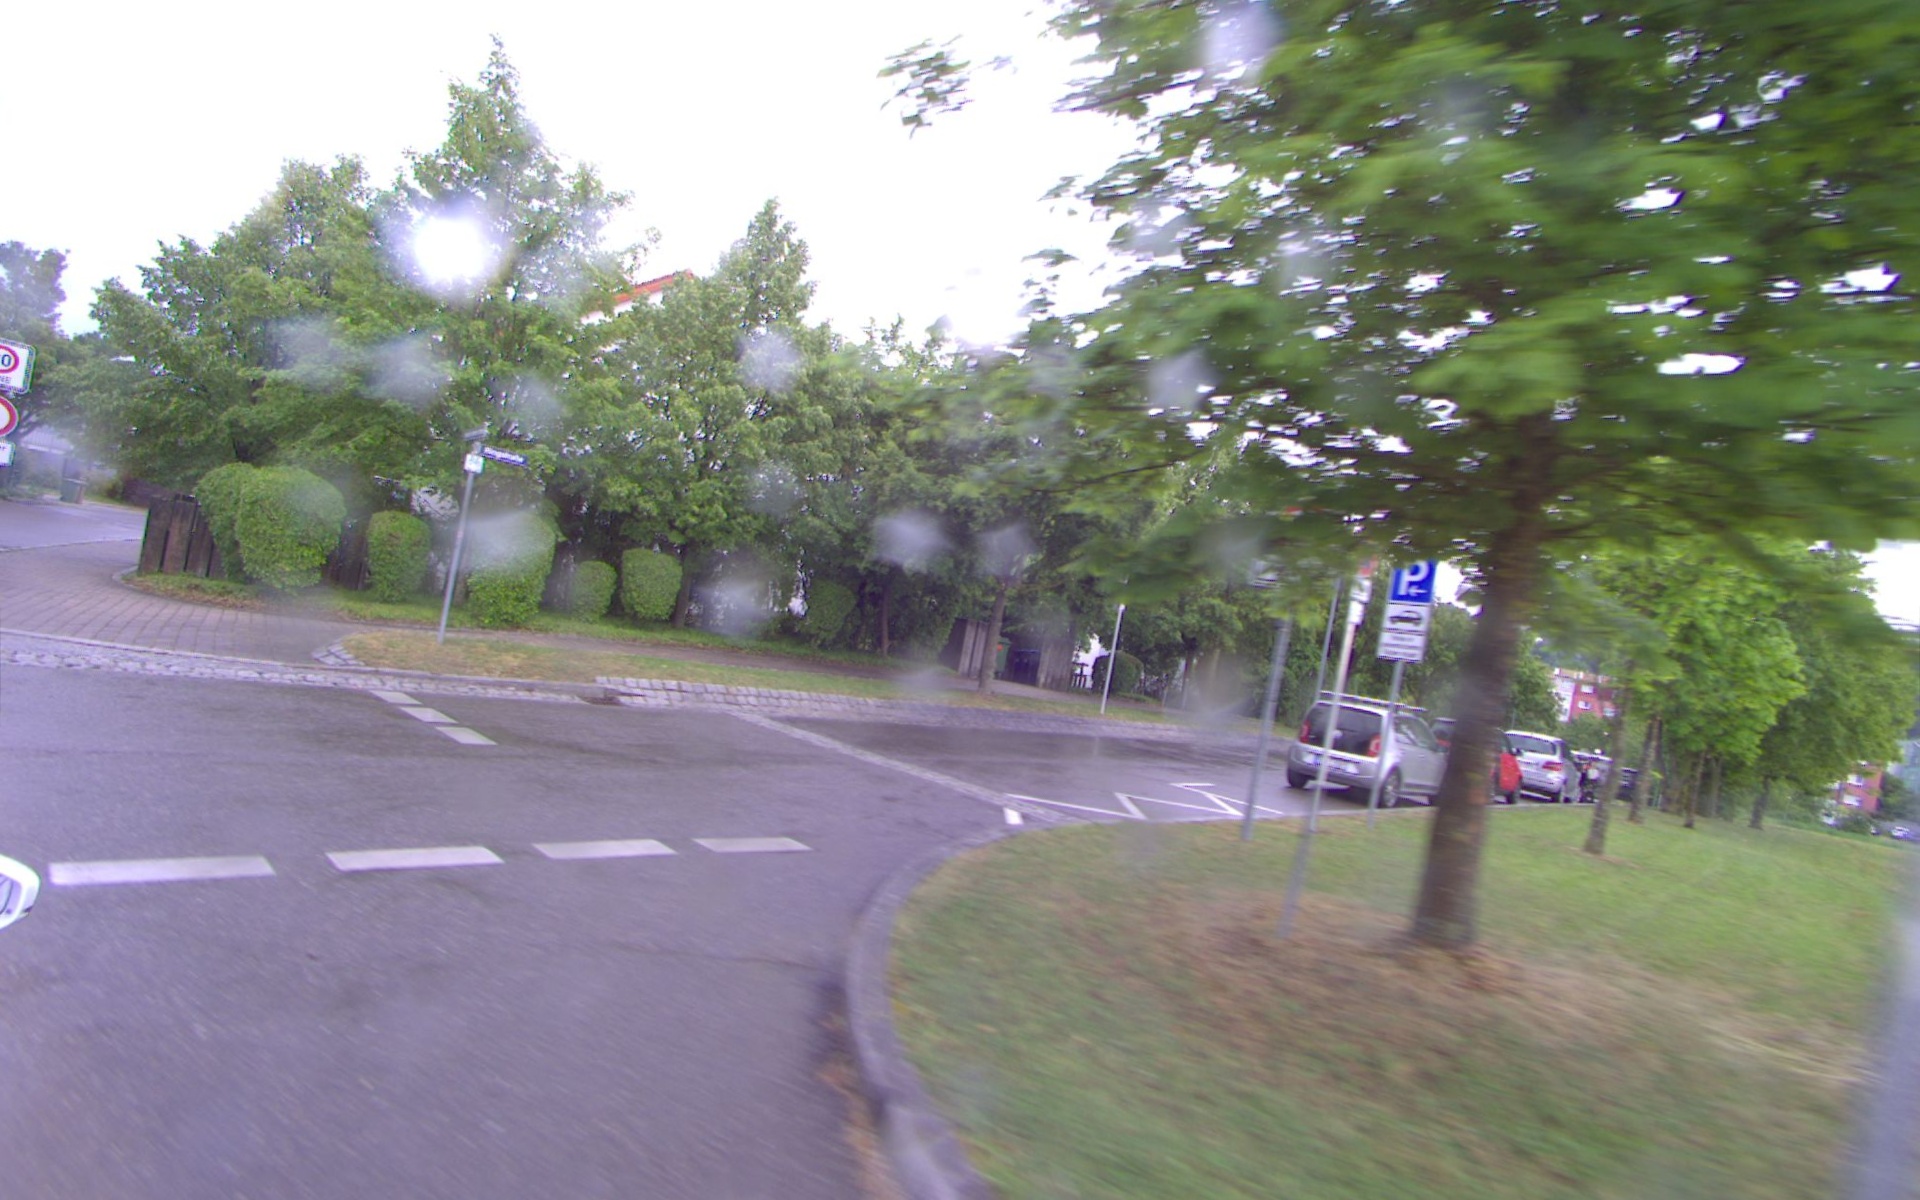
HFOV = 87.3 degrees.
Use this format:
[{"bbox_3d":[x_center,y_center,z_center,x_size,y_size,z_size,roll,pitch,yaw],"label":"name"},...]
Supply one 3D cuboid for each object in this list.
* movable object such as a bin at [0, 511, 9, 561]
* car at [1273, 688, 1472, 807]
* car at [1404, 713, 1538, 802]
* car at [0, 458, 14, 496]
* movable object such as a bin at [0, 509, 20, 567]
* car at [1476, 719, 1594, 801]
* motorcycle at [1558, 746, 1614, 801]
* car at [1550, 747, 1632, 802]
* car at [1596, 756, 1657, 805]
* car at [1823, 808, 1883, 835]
[{"bbox_3d":[-16.334,-1.063,16.691,0.566,0.941,0.526,10,-1,-29],"label":"movable object such as a bin"},{"bbox_3d":[6.840,2.435,16.518,1.658,1.496,3.537,8,-2,45],"label":"car"},{"bbox_3d":[10.653,3.299,20.910,1.533,1.452,2.999,8,-2,44],"label":"car"},{"bbox_3d":[-43.614,-5.719,43.247,3.974,1.585,1.888,12,-3,-38],"label":"car"},{"bbox_3d":[-16.609,-1.094,17.198,0.566,0.941,0.526,10,-1,-29],"label":"movable object such as a bin"},{"bbox_3d":[14.619,4.064,25.469,1.825,1.569,3.980,9,-2,39],"label":"car"},{"bbox_3d":[17.891,4.962,28.724,0.957,1.316,2.259,10,-2,39],"label":"motorcycle"},{"bbox_3d":[19.912,5.477,31.695,1.708,1.295,3.319,9,-2,38],"label":"car"},{"bbox_3d":[30.156,8.183,45.444,1.932,1.623,3.996,10,-4,37],"label":"car"},{"bbox_3d":[110.955,27.497,125.044,5.198,2.037,1.995,8,-1,36],"label":"car"}]
